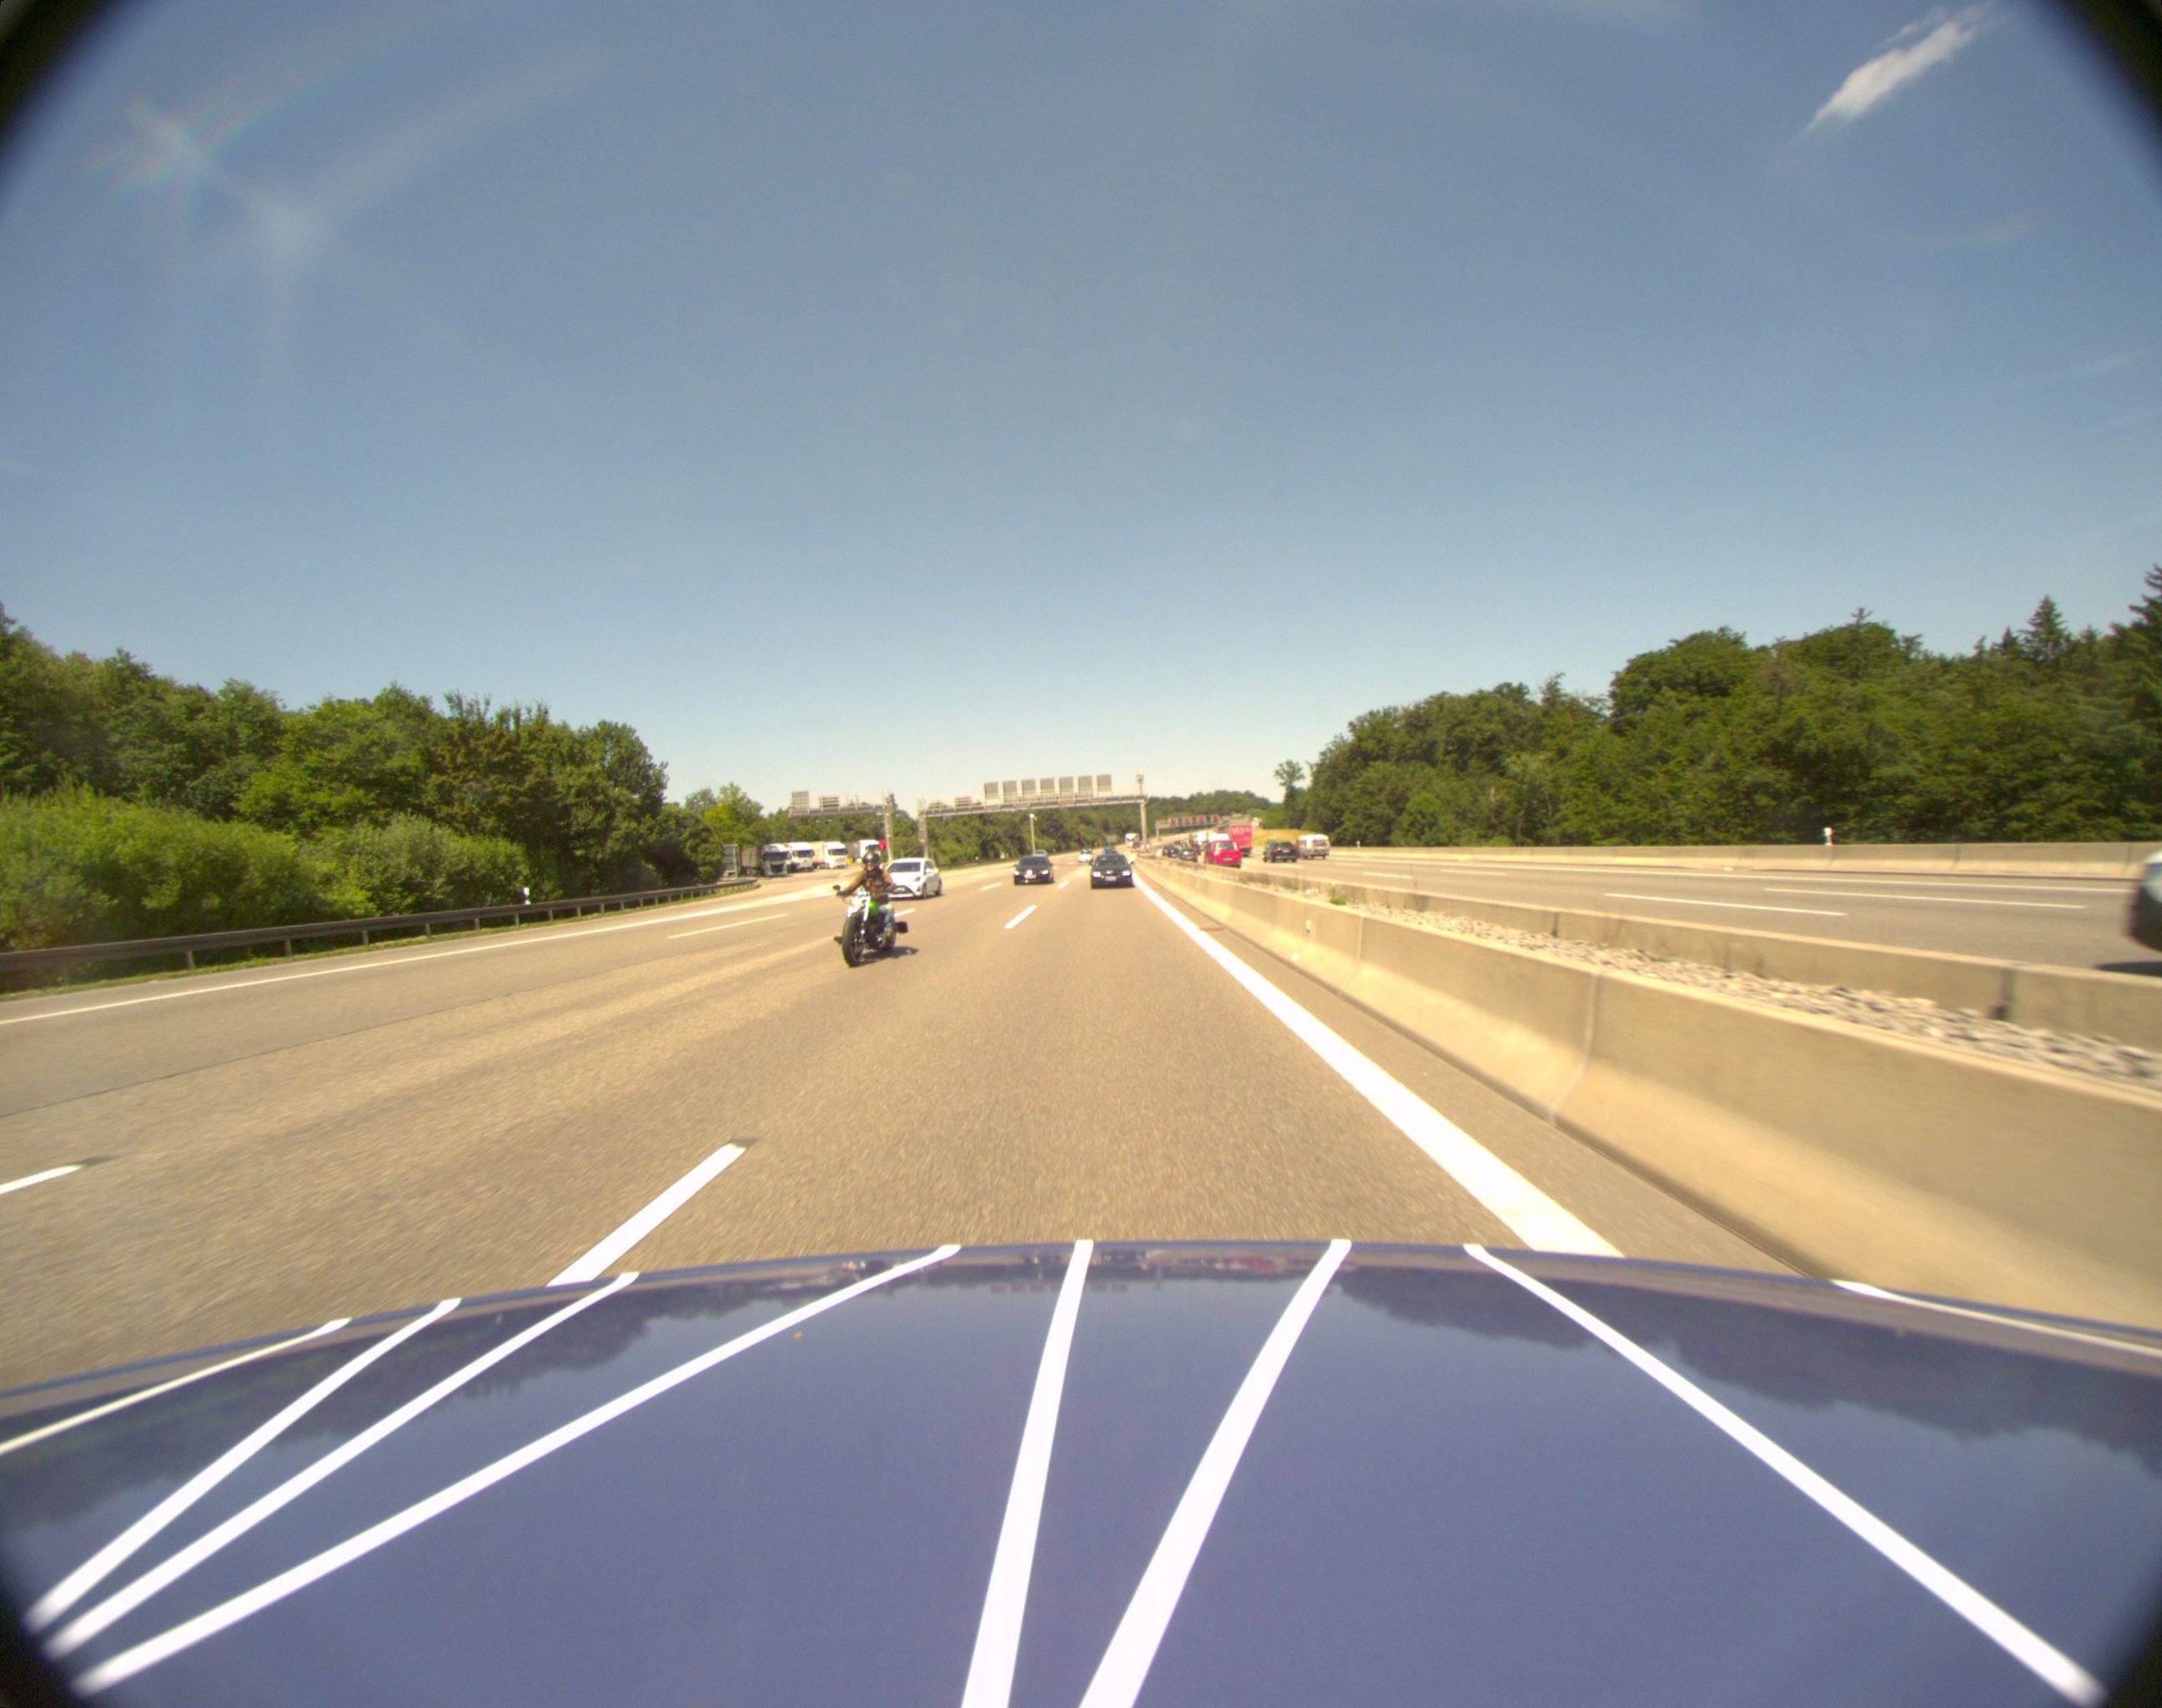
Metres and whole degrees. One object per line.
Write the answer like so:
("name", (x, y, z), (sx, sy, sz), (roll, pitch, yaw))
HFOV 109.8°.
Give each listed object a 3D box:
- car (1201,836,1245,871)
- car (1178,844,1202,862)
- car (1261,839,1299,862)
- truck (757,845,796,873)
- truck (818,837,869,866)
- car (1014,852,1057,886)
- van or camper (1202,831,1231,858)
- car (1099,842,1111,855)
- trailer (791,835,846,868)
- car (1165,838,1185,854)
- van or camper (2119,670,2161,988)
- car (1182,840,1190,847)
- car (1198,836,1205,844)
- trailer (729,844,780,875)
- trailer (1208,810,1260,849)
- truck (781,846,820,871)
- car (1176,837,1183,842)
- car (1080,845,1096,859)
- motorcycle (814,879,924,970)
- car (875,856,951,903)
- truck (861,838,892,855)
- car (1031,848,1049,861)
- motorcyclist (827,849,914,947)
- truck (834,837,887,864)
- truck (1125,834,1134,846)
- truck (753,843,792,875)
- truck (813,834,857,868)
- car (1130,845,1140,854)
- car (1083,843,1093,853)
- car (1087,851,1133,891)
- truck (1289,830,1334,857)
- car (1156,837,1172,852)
("car", (8.772, -0.086, 47.403), (1.911, 1.971, 4.640), (-3, 1, 2))
("car", (10.446, -0.138, 73.312), (1.773, 1.501, 4.823), (-3, 1, 3))
("car", (16.294, -0.349, 62.503), (1.998, 1.752, 5.069), (-2, 1, 4))
("truck", (-41.071, 0.631, 102.415), (2.458, 3.411, 9.004), (-5, 3, -36))
("truck", (-39.924, -0.401, 127.350), (2.836, 4.436, 12.028), (-6, 4, -43))
("car", (-2.256, 0.737, 38.799), (1.760, 1.431, 3.999), (-2, 2, 2))
("van or camper", (13.834, -0.973, 77.951), (2.104, 2.551, 6.400), (-2, 1, 3))
("car", (4.190, -1.006, 132.532), (1.998, 2.003, 3.999), (-3, 3, 3))
("trailer", (-40.703, -0.293, 117.444), (3.287, 4.682, 12.025), (-6, 4, -42))
("car", (11.571, -0.976, 93.957), (1.998, 1.714, 5.195), (-3, 2, 4))
("van or camper", (10.428, -0.228, 3.195), (1.998, 2.783, 7.414), (-2, 0, 0))
("car", (28.531, -2.844, 205.747), (1.758, 1.625, 4.639), (-2, 0, 4))
("car", (34.719, -3.944, 219.059), (1.997, 2.003, 4.001), (-3, 3, 9))
("trailer", (-43.053, 0.705, 99.899), (2.509, 3.594, 13.331), (-6, 3, -38))
("trailer", (18.682, -2.954, 93.880), (3.844, 4.255, 14.475), (-3, 1, 3))
("truck", (-38.814, 0.575, 104.939), (2.458, 3.108, 9.004), (-5, 3, -36))
("car", (31.771, -4.692, 244.549), (1.998, 1.658, 4.435), (-2, 1, 6))
("car", (0.894, -0.274, 94.519), (1.729, 1.521, 3.741), (-4, 2, 2))
("motorcycle", (-3.195, 1.027, 11.764), (0.536, 1.129, 2.438), (-2, 1, 12))
("car", (-6.258, 0.901, 28.812), (1.754, 1.510, 4.484), (-2, 0, 1))
("truck", (-40.180, -1.437, 149.180), (2.003, 2.933, 8.724), (-6, 3, -41))
("car", (-5.672, 0.028, 104.850), (1.998, 1.521, 3.999), (-2, 2, 3))
("motorcyclist", (-3.203, 0.650, 11.670), (0.854, 1.419, 1.024), (-2, 2, 12))
("truck", (-38.977, -0.521, 133.928), (2.837, 4.434, 14.602), (-3, 1, -42))
("truck", (15.125, -4.452, 237.623), (2.434, 3.458, 7.022), (-3, 3, 7))
("truck", (-37.948, 0.626, 93.338), (2.498, 3.591, 6.309), (-6, 3, -38))
("truck", (-36.568, -0.387, 112.821), (3.272, 4.698, 7.169), (-6, 4, -41))
("car", (11.875, -0.980, 166.912), (1.998, 2.002, 4.001), (-3, 0, 4))
("car", (1.567, -1.367, 173.362), (1.998, 2.003, 3.999), (-3, 3, 2))
("car", (1.229, 0.652, 32.230), (1.769, 1.496, 4.000), (-3, 0, 2))
("truck", (21.301, -1.000, 70.547), (2.051, 2.241, 8.824), (-3, 1, 5))
("car", (12.356, -1.423, 112.930), (1.998, 2.003, 3.999), (-3, 3, 2))
